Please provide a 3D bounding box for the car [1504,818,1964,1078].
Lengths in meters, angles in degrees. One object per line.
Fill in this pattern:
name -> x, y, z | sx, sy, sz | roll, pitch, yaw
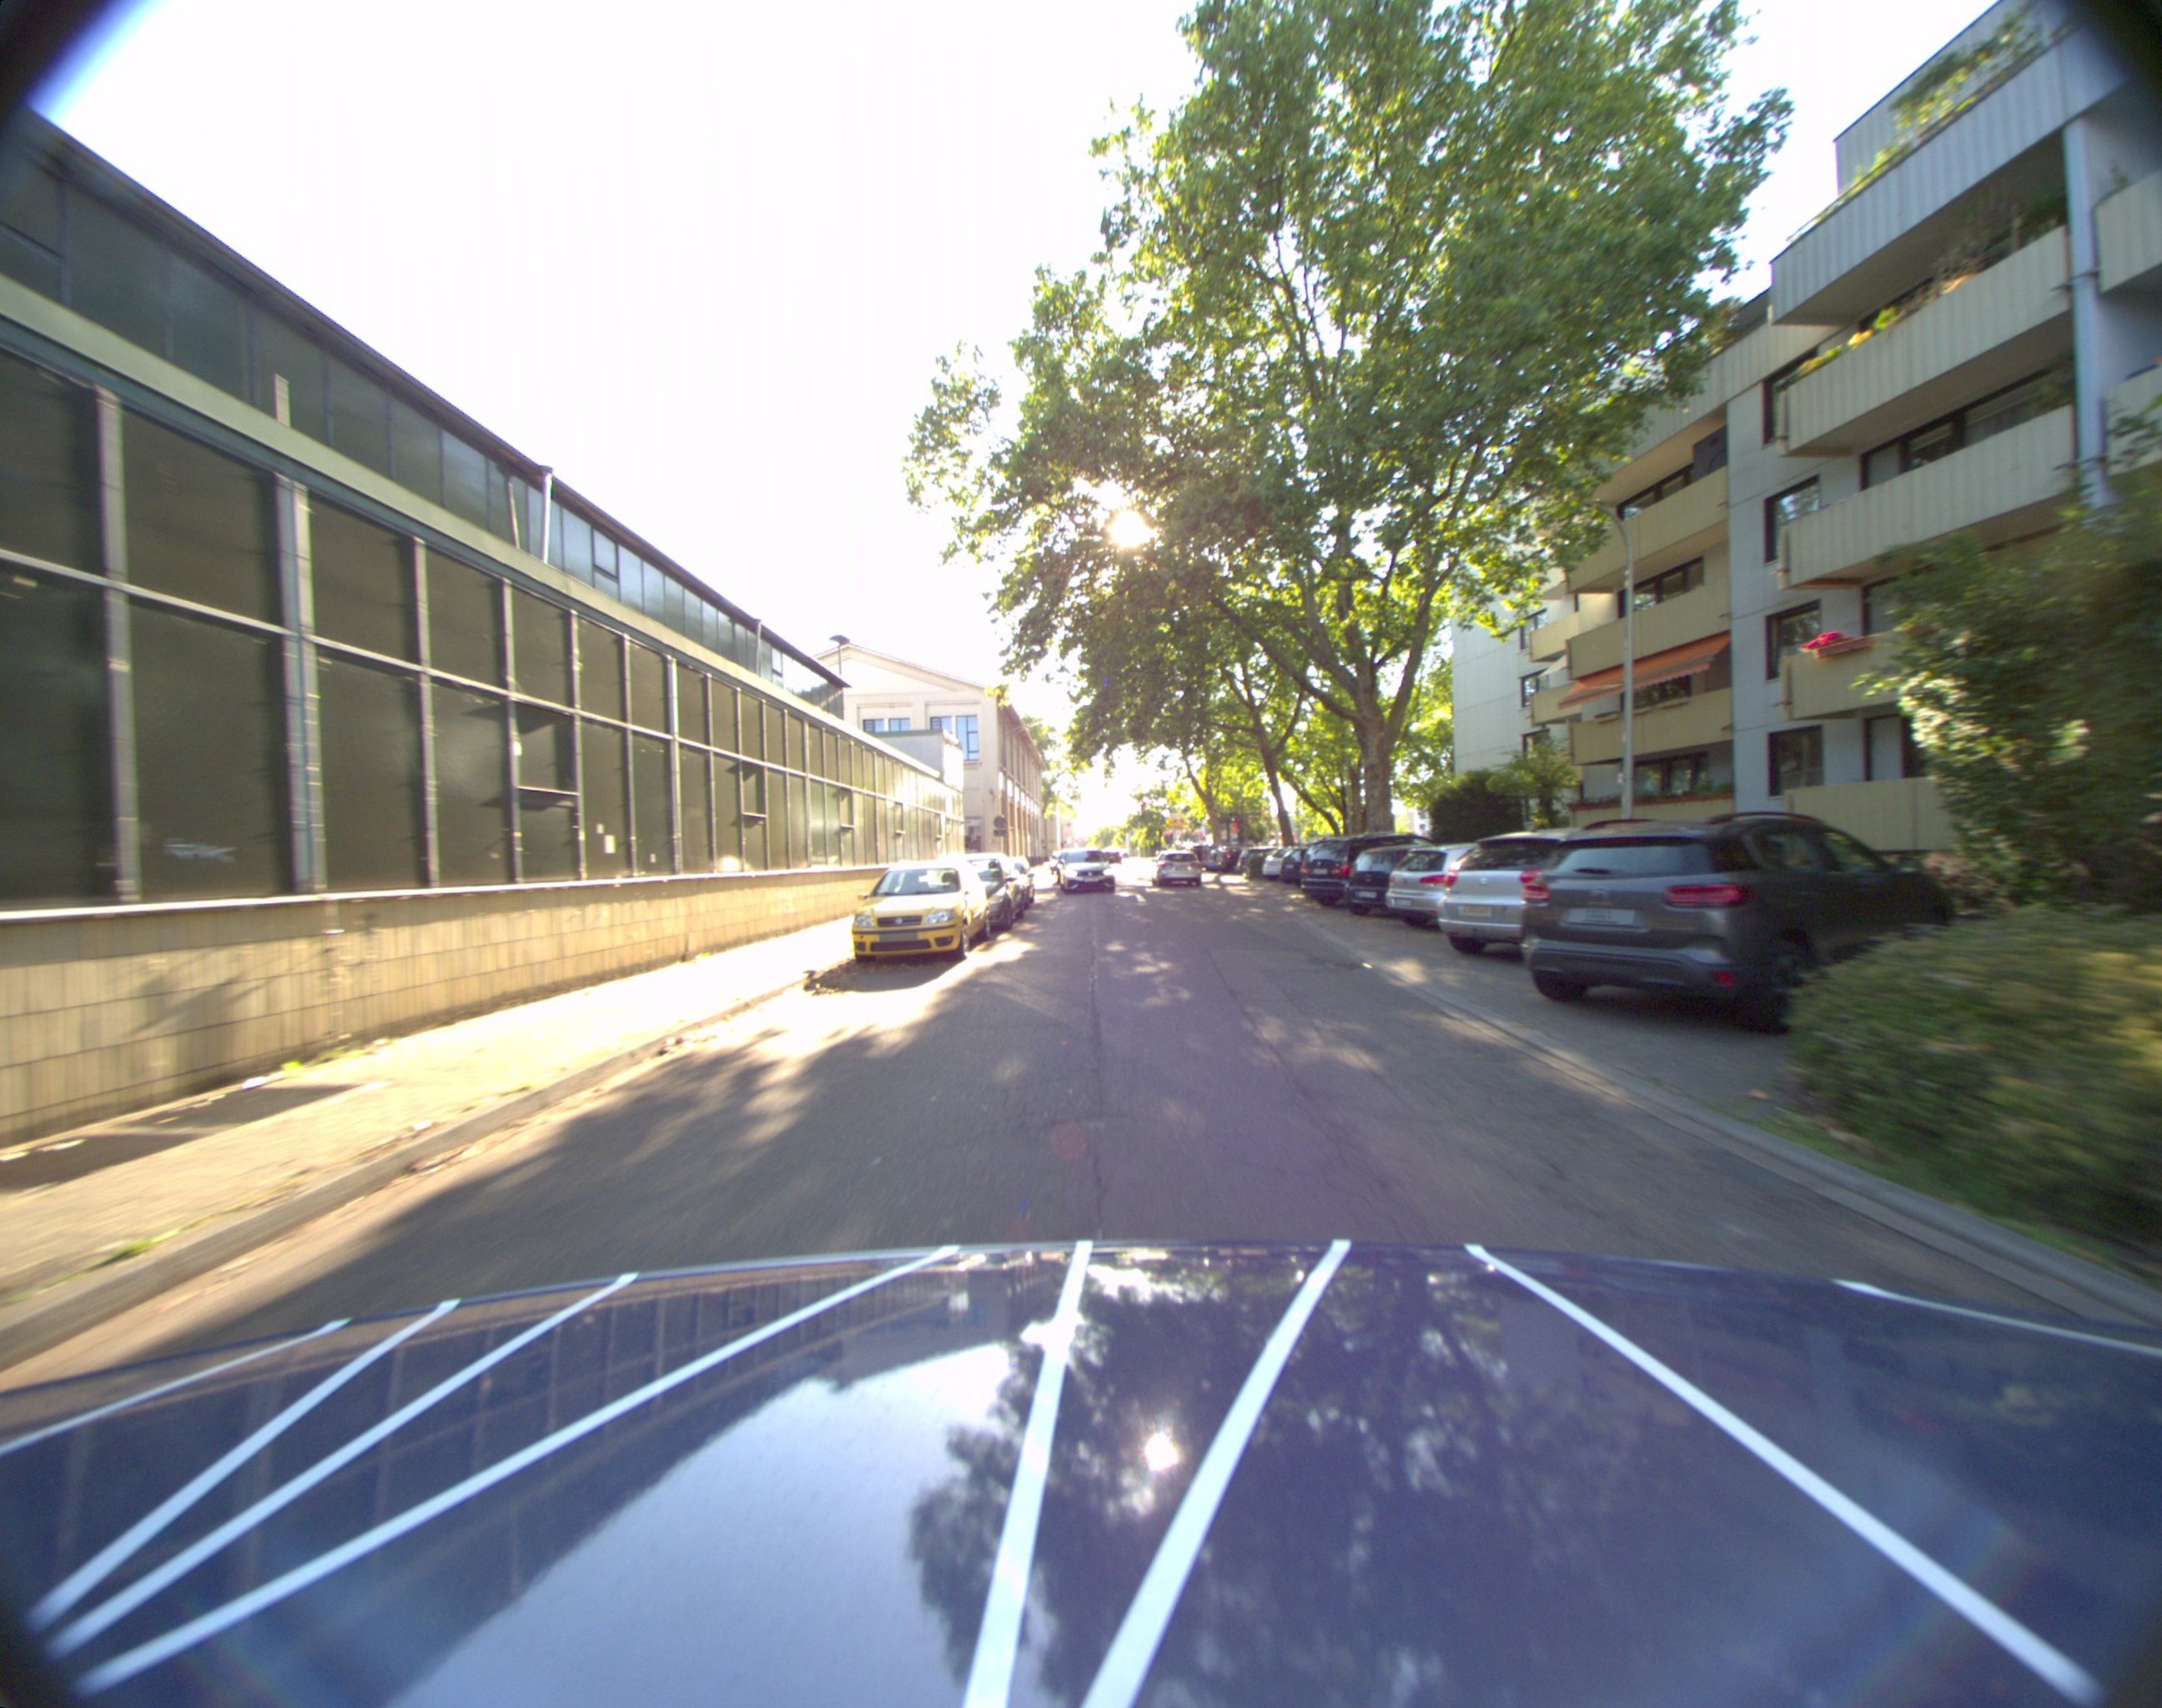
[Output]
car -> 5.940, 0.618, 6.865 | 3.964, 1.653, 1.696 | -4, 1, -26

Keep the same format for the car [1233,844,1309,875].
car -> 10.422, 0.271, 41.693 | 3.653, 1.453, 1.703 | -4, 1, -19

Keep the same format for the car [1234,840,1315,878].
car -> 9.683, 0.223, 38.042 | 3.654, 1.652, 1.647 | -4, 1, -25

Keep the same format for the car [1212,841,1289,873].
car -> 9.875, 0.166, 44.385 | 4.001, 1.615, 1.796 | -3, 1, -13

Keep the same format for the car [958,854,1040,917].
car -> -2.289, 0.823, 22.342 | 1.905, 1.485, 4.528 | -3, 1, -1

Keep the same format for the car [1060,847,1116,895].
car -> 0.210, 0.581, 28.430 | 1.854, 1.527, 3.856 | -4, 1, -1

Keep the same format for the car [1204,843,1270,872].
car -> 9.592, 0.187, 46.733 | 3.602, 1.552, 1.647 | -4, 1, -17

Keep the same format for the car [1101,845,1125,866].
car -> 2.795, 0.108, 67.366 | 1.965, 1.633, 3.999 | -3, 1, 1

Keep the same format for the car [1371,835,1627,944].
car -> 7.285, 0.562, 13.408 | 3.650, 1.552, 1.698 | -3, 1, -10

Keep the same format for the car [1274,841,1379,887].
car -> 9.771, 0.383, 30.320 | 3.652, 1.552, 1.647 | -4, 1, -17

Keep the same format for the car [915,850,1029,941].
car -> -2.265, 0.807, 16.976 | 1.755, 1.625, 4.308 | -3, 1, 1

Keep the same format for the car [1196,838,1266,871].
car -> 9.760, 0.020, 49.579 | 4.001, 1.871, 1.831 | -4, 1, -15

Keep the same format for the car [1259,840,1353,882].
car -> 9.800, 0.276, 33.072 | 3.654, 1.552, 1.706 | -4, 1, -26

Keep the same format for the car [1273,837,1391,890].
car -> 8.995, 0.317, 27.293 | 3.652, 1.652, 1.647 | -4, 1, -17

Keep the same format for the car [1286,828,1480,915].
car -> 7.502, 0.376, 18.910 | 4.273, 1.765, 1.903 | -4, 1, -22

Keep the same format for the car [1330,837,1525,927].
car -> 7.319, 0.527, 16.052 | 3.654, 1.552, 1.697 | -4, 1, -24

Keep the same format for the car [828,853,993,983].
car -> -2.556, 0.875, 12.381 | 1.755, 1.625, 4.000 | -3, 1, -1

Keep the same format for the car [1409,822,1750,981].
car -> 6.715, 0.512, 10.235 | 4.143, 1.631, 1.774 | -4, 1, -23

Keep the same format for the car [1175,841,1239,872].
car -> 8.638, 0.164, 52.151 | 4.004, 1.876, 1.713 | -4, 1, -25

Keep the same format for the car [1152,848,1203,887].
car -> 4.003, 0.510, 32.132 | 1.904, 1.527, 4.622 | 0, 1, 4
